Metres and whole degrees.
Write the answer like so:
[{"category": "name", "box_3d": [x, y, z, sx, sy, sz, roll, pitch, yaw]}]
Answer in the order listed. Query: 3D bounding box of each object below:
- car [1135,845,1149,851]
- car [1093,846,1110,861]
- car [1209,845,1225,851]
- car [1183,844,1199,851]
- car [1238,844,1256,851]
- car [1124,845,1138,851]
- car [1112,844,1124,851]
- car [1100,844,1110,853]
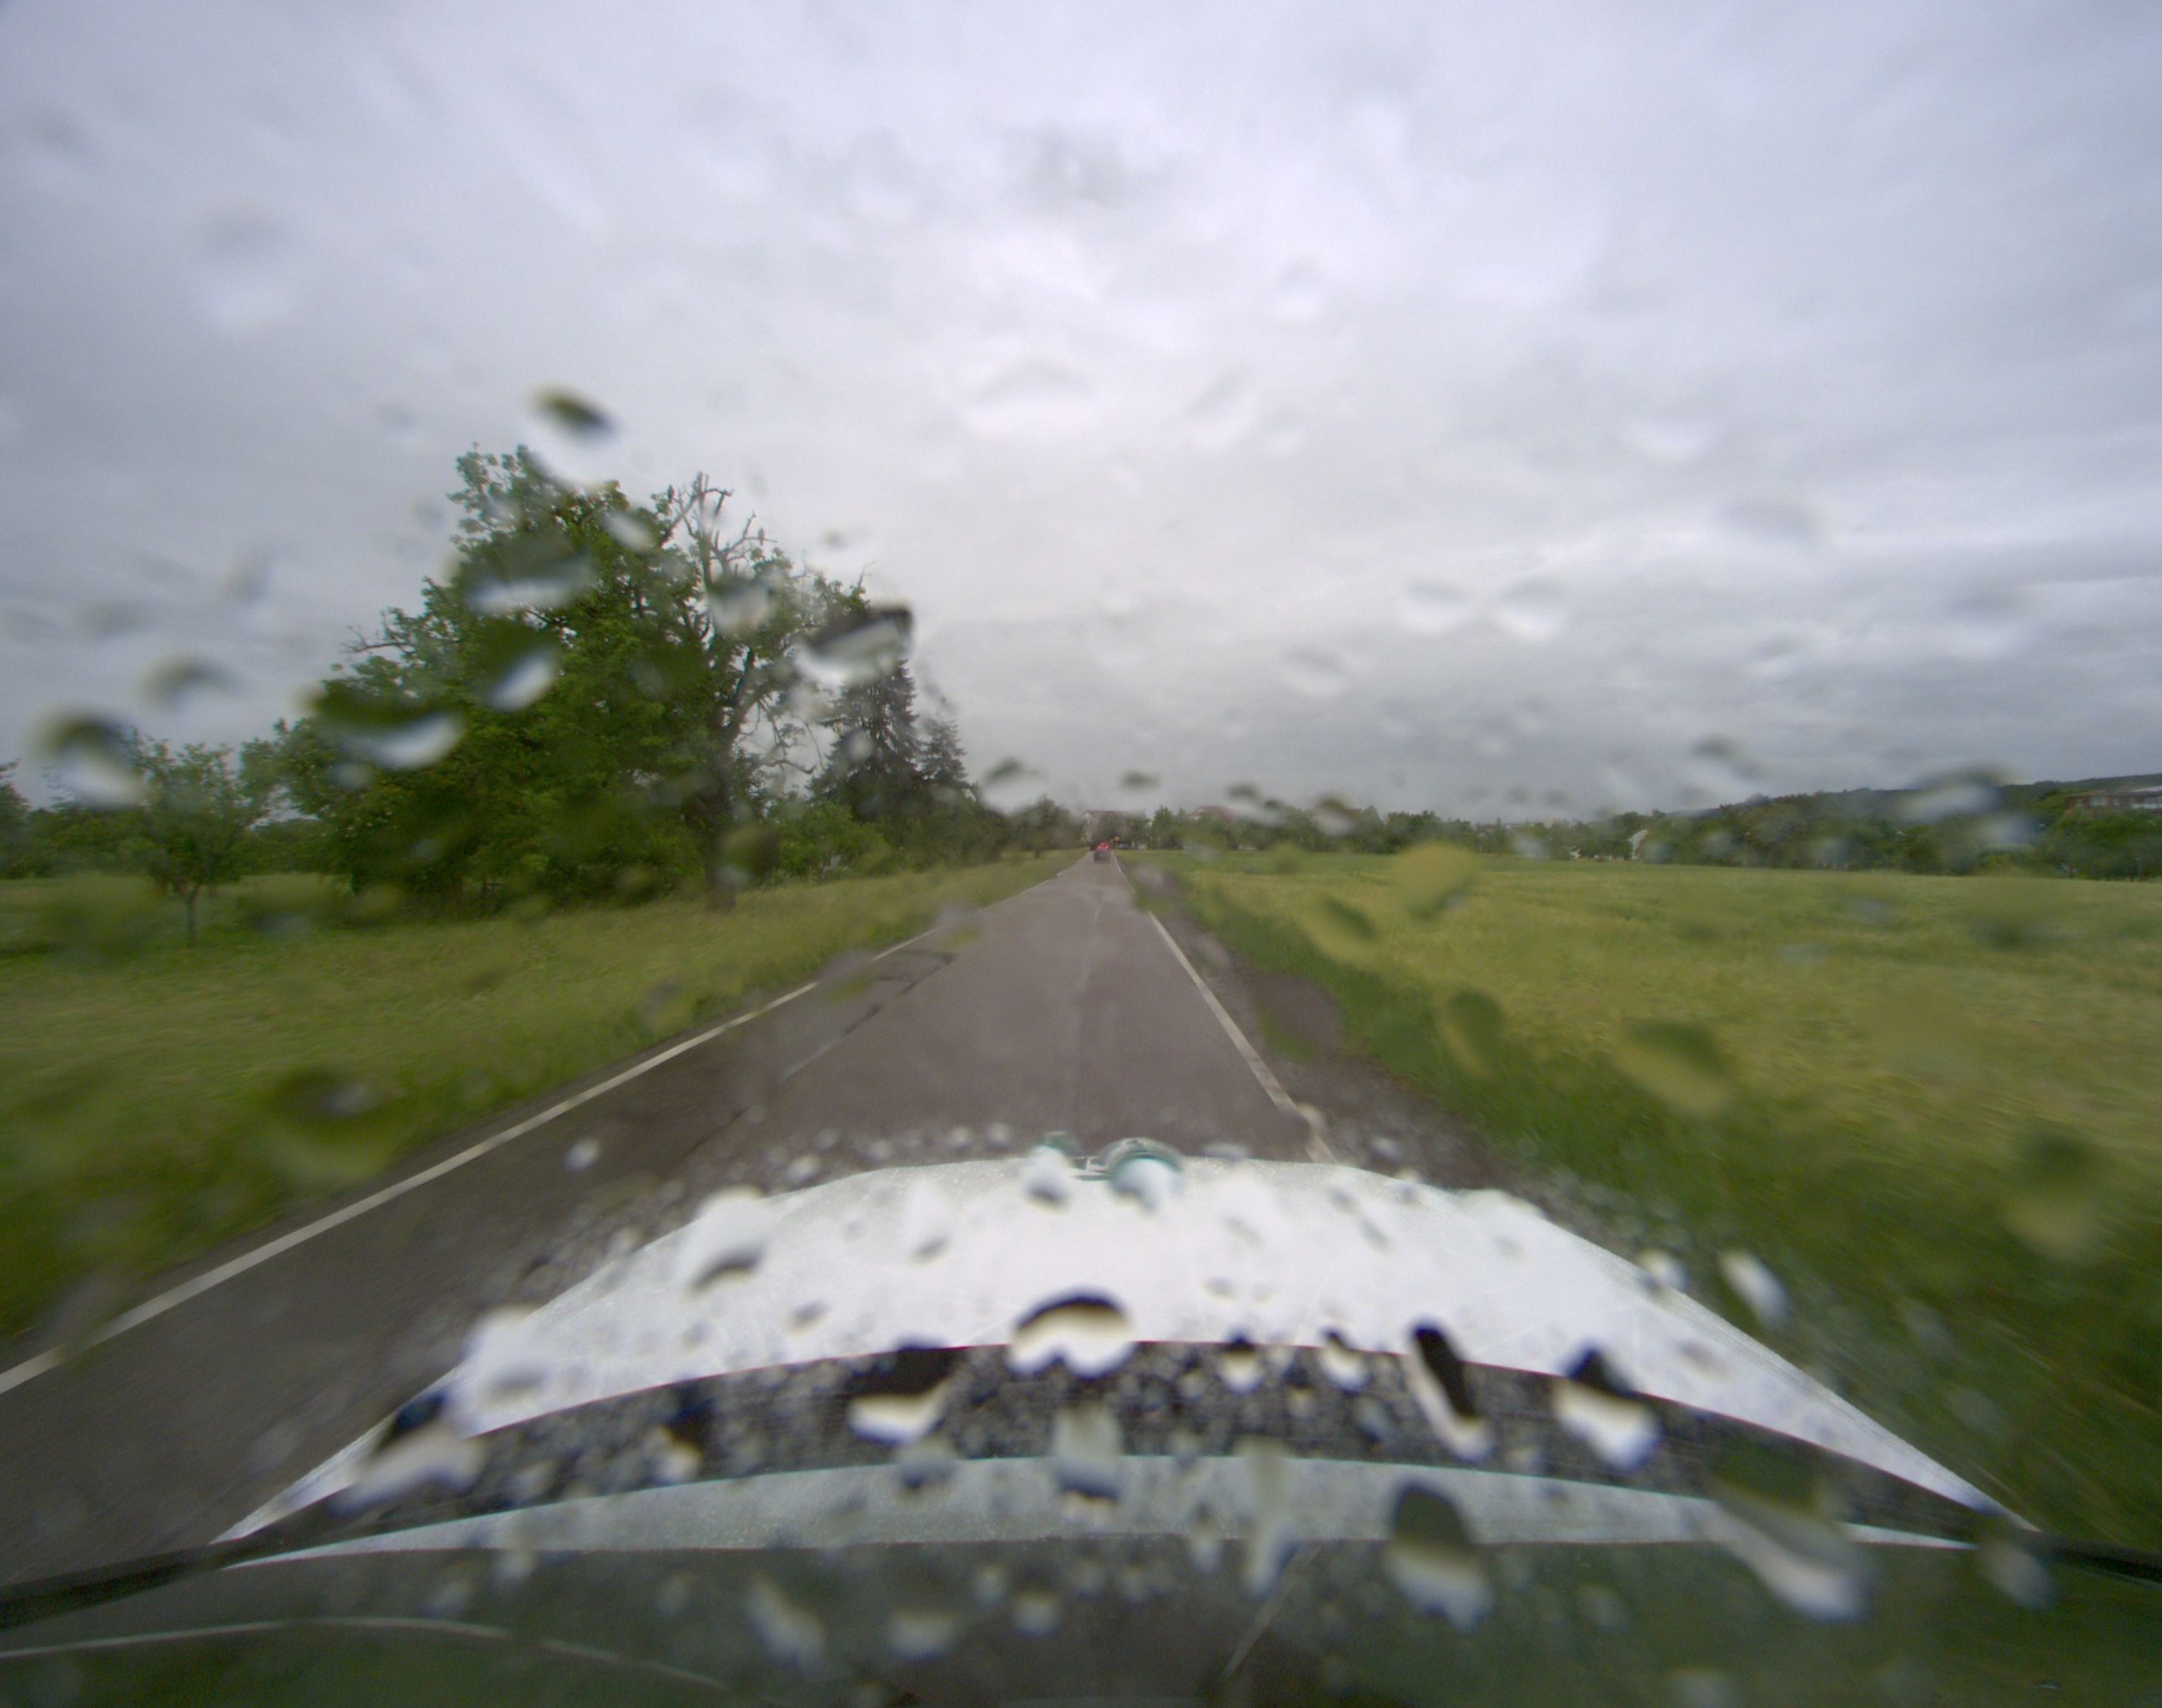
[{"category": "car", "box_3d": [15.994, -1.515, 213.483, 1.645, 1.546, 4.025, -1, -1, 37]}, {"category": "car", "box_3d": [2.257, -0.080, 89.475, 1.807, 1.594, 4.003, 0, -1, 3]}, {"category": "car", "box_3d": [28.946, -1.285, 173.788, 3.169, 1.371, 1.578, 0, -1, 15]}, {"category": "car", "box_3d": [23.649, -1.405, 175.112, 3.365, 1.371, 1.554, 0, -1, 15]}, {"category": "car", "box_3d": [35.122, -1.341, 172.032, 3.682, 1.564, 1.617, 0, -1, 15]}, {"category": "car", "box_3d": [12.798, -1.496, 209.306, 1.645, 1.546, 4.025, -1, -1, 37]}, {"category": "car", "box_3d": [9.275, -1.601, 203.828, 1.645, 1.546, 4.023, 0, -1, 26]}, {"category": "car", "box_3d": [4.444, -0.955, 152.658, 1.807, 1.594, 4.003, 0, -1, 3]}]
